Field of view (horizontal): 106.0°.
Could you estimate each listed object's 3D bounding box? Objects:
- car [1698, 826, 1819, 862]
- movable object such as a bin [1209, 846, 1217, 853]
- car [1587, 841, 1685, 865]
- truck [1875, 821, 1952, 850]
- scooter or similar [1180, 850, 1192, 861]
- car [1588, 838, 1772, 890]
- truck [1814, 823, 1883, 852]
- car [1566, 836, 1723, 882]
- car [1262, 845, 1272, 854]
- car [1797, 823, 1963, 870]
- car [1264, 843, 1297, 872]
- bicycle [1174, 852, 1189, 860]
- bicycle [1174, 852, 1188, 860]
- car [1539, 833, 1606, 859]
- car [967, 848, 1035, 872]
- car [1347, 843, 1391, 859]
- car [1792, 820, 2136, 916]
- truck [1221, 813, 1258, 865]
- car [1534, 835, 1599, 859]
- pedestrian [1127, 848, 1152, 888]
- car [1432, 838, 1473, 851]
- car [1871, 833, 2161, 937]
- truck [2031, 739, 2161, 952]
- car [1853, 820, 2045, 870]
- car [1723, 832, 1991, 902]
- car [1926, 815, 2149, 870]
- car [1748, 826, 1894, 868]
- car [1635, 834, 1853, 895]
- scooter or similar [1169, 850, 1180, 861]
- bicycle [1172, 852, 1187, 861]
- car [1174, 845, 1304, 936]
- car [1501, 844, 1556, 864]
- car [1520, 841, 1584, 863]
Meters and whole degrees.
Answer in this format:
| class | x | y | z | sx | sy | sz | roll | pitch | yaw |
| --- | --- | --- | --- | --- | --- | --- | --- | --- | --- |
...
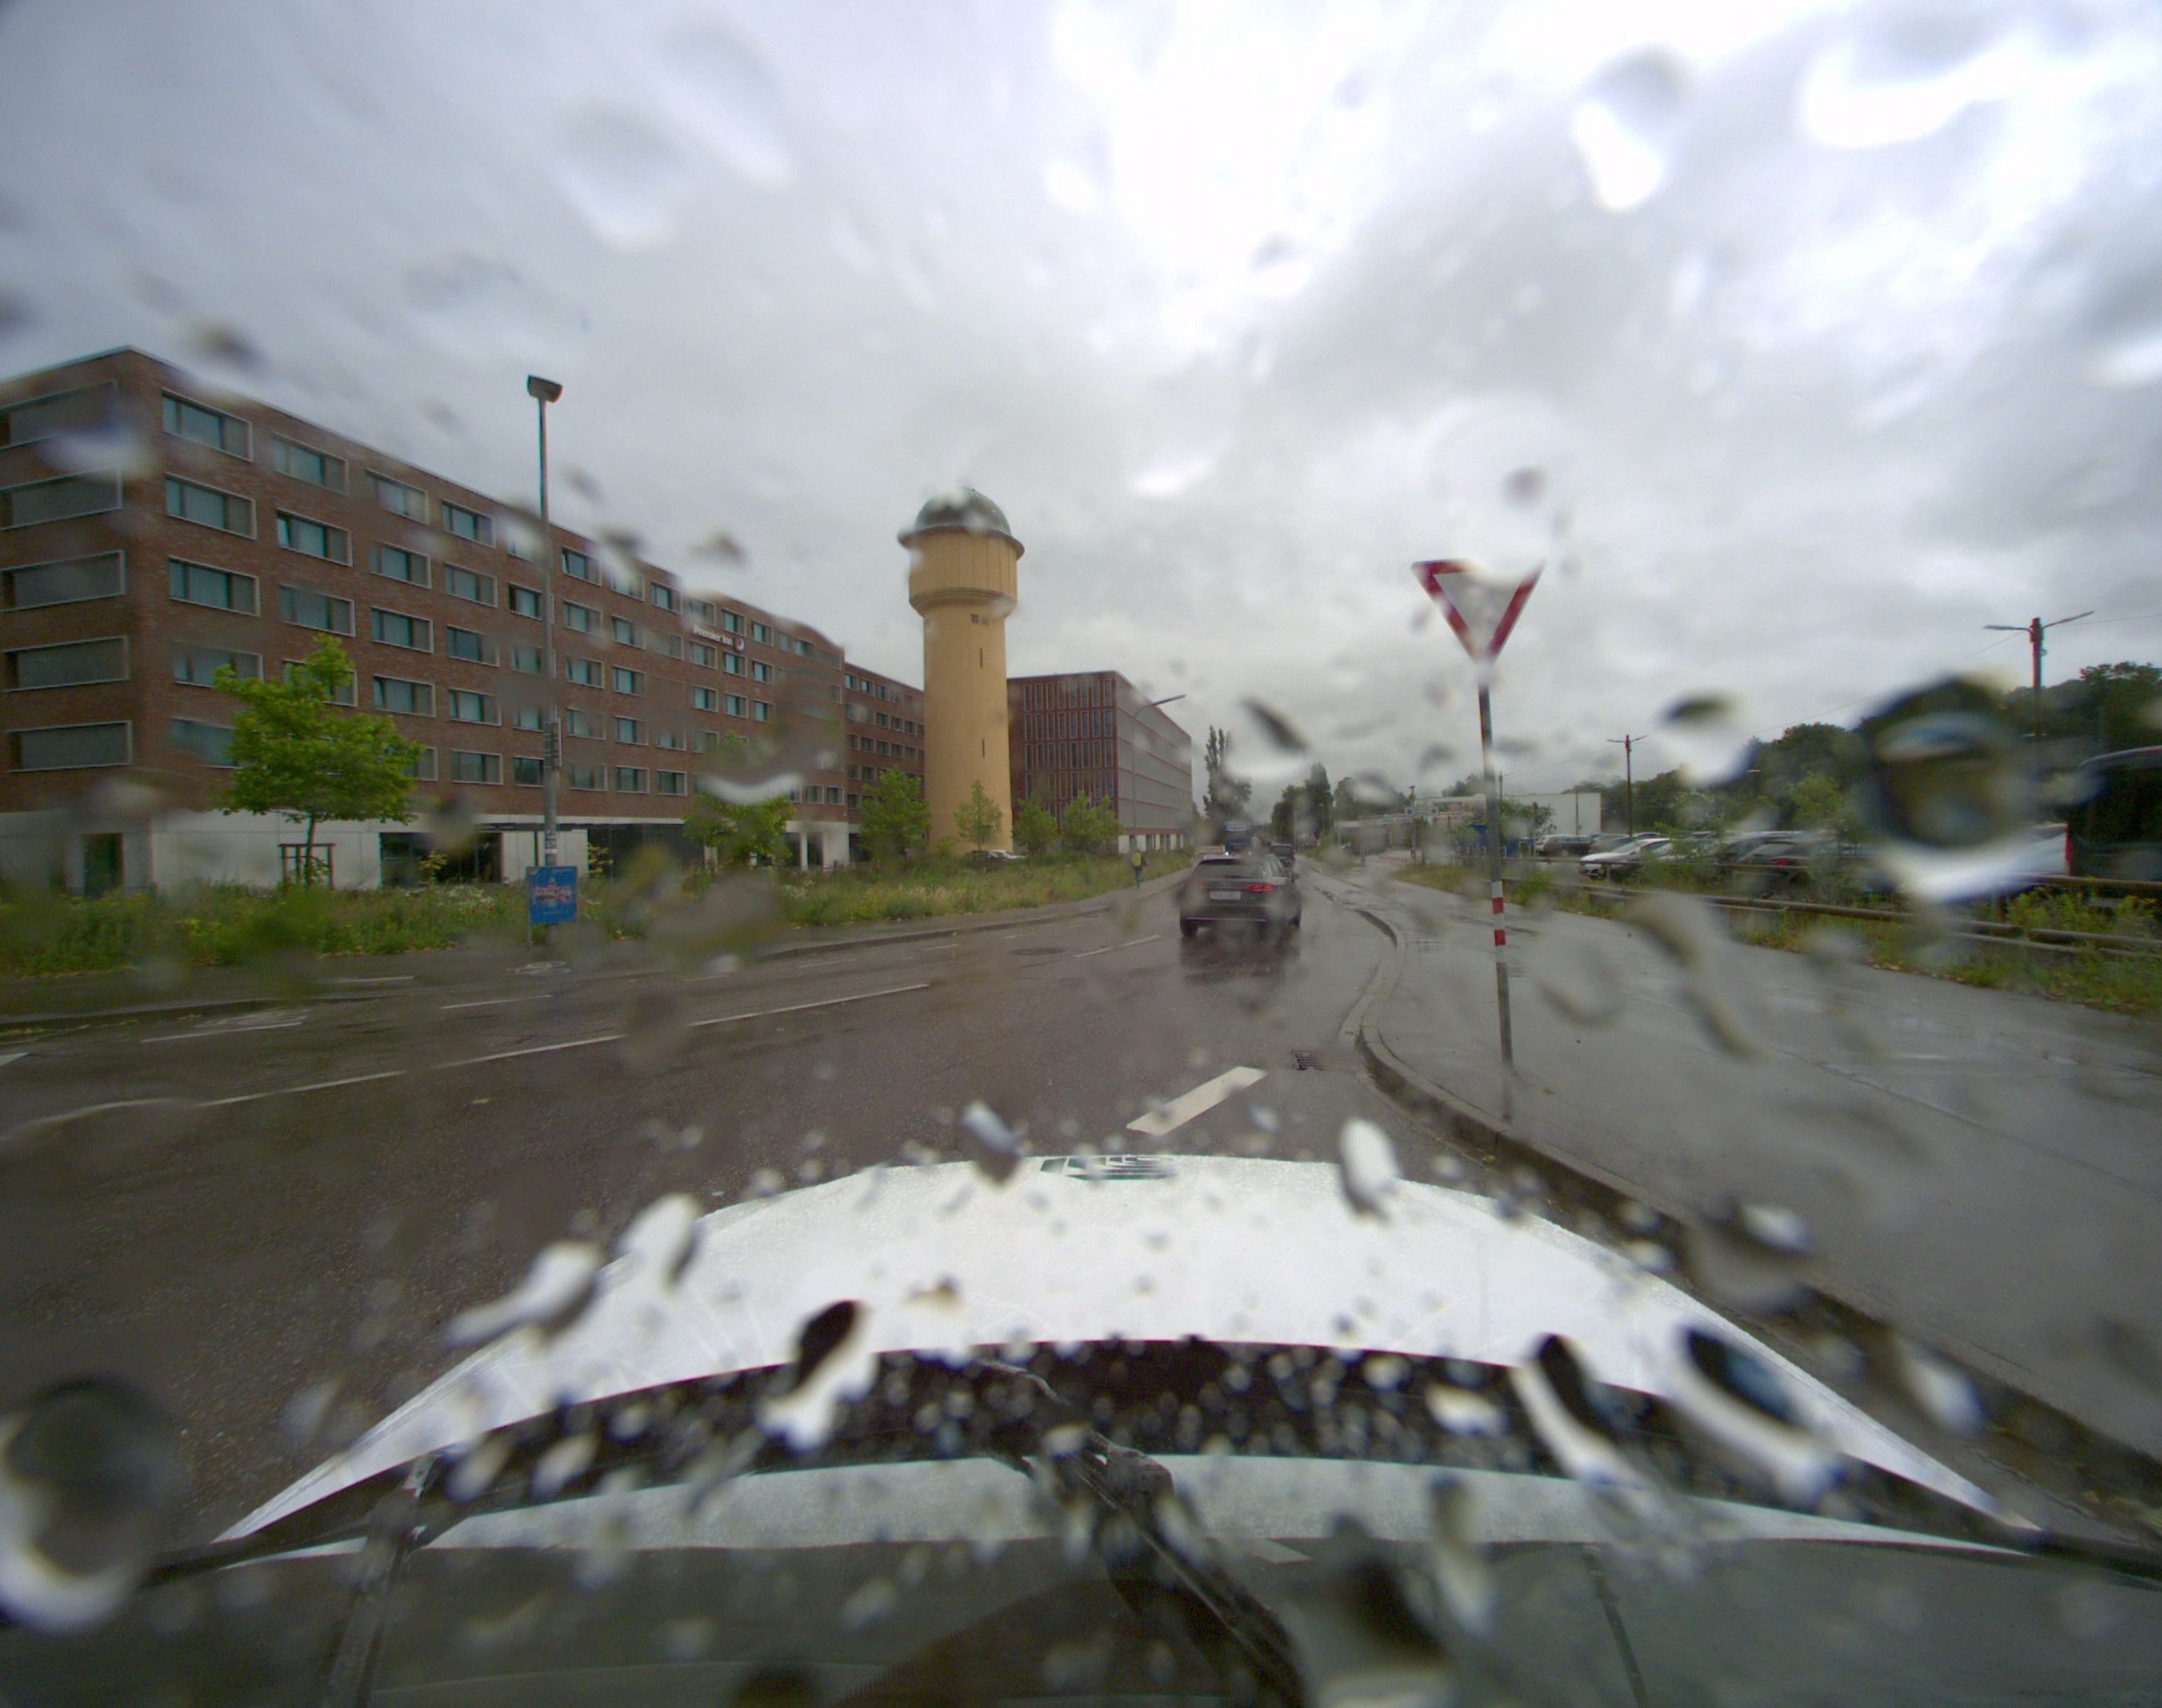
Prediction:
| class | x | y | z | sx | sy | sz | roll | pitch | yaw |
| --- | --- | --- | --- | --- | --- | --- | --- | --- | --- |
| car | 31.704 | -0.427 | 38.225 | 3.923 | 1.490 | 1.785 | -2 | -1 | 14 |
| movable object such as a bin | 24.033 | -0.802 | 148.595 | 1.289 | 1.308 | 1.451 | -1 | 1 | 6 |
| car | 34.276 | -0.039 | 50.390 | 4.557 | 1.221 | 1.985 | -2 | -1 | 11 |
| truck | 65.854 | -1.446 | 64.556 | 2.056 | 2.138 | 5.107 | -2 | 0 | 17 |
| scooter or similar | 12.471 | 0.156 | 96.863 | 1.304 | 1.230 | 0.470 | -1 | 0 | 42 |
| car | 17.276 | 0.296 | 23.690 | 3.871 | 1.423 | 1.911 | 0 | -1 | 10 |
| truck | 67.158 | -1.410 | 71.390 | 2.058 | 2.401 | 5.101 | -2 | 0 | 12 |
| car | 18.113 | 0.166 | 26.361 | 3.748 | 1.393 | 1.911 | 0 | -1 | 10 |
| car | 37.920 | -0.922 | 166.170 | 1.717 | 1.687 | 3.913 | -1 | 0 | 15 |
| car | 29.112 | -0.242 | 29.803 | 3.923 | 1.490 | 1.785 | -2 | -1 | 14 |
| car | 13.693 | 0.219 | 56.102 | 1.980 | 1.910 | 4.214 | -1 | 0 | 12 |
| bicycle | 13.500 | 0.284 | 109.510 | 1.847 | 1.077 | 0.546 | 1 | 0 | 11 |
| bicycle | 13.346 | 0.305 | 108.675 | 1.847 | 1.077 | 0.546 | 1 | 0 | 11 |
| car | 35.511 | -0.562 | 58.951 | 3.746 | 1.584 | 1.794 | -3 | -2 | 15 |
| car | -5.755 | 0.454 | 58.929 | 4.493 | 1.641 | 2.005 | -1 | 0 | 9 |
| car | 32.761 | -0.339 | 92.750 | 4.644 | 1.735 | 2.137 | -2 | -1 | 17 |
| car | 15.738 | 0.246 | 14.765 | 3.871 | 1.594 | 1.902 | 0 | -1 | 10 |
| truck | 15.139 | -1.383 | 77.923 | 3.273 | 4.654 | 6.052 | -1 | 0 | 11 |
| car | 36.798 | -0.529 | 61.834 | 3.874 | 1.584 | 1.794 | -3 | -2 | 15 |
| pedestrian | 2.549 | 0.590 | 35.531 | 0.902 | 1.718 | 1.030 | -1 | 0 | 13 |
| car | 42.968 | -1.098 | 94.288 | 3.959 | 1.485 | 2.007 | 0 | -1 | 13 |
| car | 14.727 | 0.430 | 11.985 | 4.134 | 1.420 | 1.868 | 0 | -1 | 9 |
| truck | 14.733 | -0.102 | 9.208 | 5.002 | 2.402 | 2.116 | 0 | 0 | 10 |
| car | 28.628 | -0.273 | 27.029 | 3.923 | 1.427 | 1.894 | -2 | -1 | 14 |
| car | 16.544 | 0.271 | 17.572 | 3.871 | 1.394 | 1.784 | 0 | -1 | 10 |
| car | 28.471 | -0.302 | 24.410 | 3.923 | 1.427 | 1.894 | -2 | -1 | 14 |
| car | 29.507 | -0.252 | 32.600 | 3.923 | 1.490 | 1.785 | -2 | -1 | 14 |
| car | 16.474 | 0.257 | 20.421 | 3.871 | 1.423 | 1.784 | 0 | -1 | 10 |
| scooter or similar | 11.213 | 0.203 | 97.694 | 1.213 | 1.230 | 0.462 | -2 | 0 | -35 |
| bicycle | 12.994 | 0.310 | 107.161 | 1.935 | 1.077 | 0.622 | 1 | 0 | 11 |
| car | 3.121 | 0.588 | 15.395 | 1.879 | 1.456 | 4.247 | -1 | 0 | 18 |
| car | 39.095 | -0.010 | 71.231 | 3.801 | 1.484 | 1.935 | -3 | -2 | 15 |
| car | 37.369 | -0.117 | 64.726 | 4.014 | 1.484 | 1.935 | -3 | -2 | 15 |
